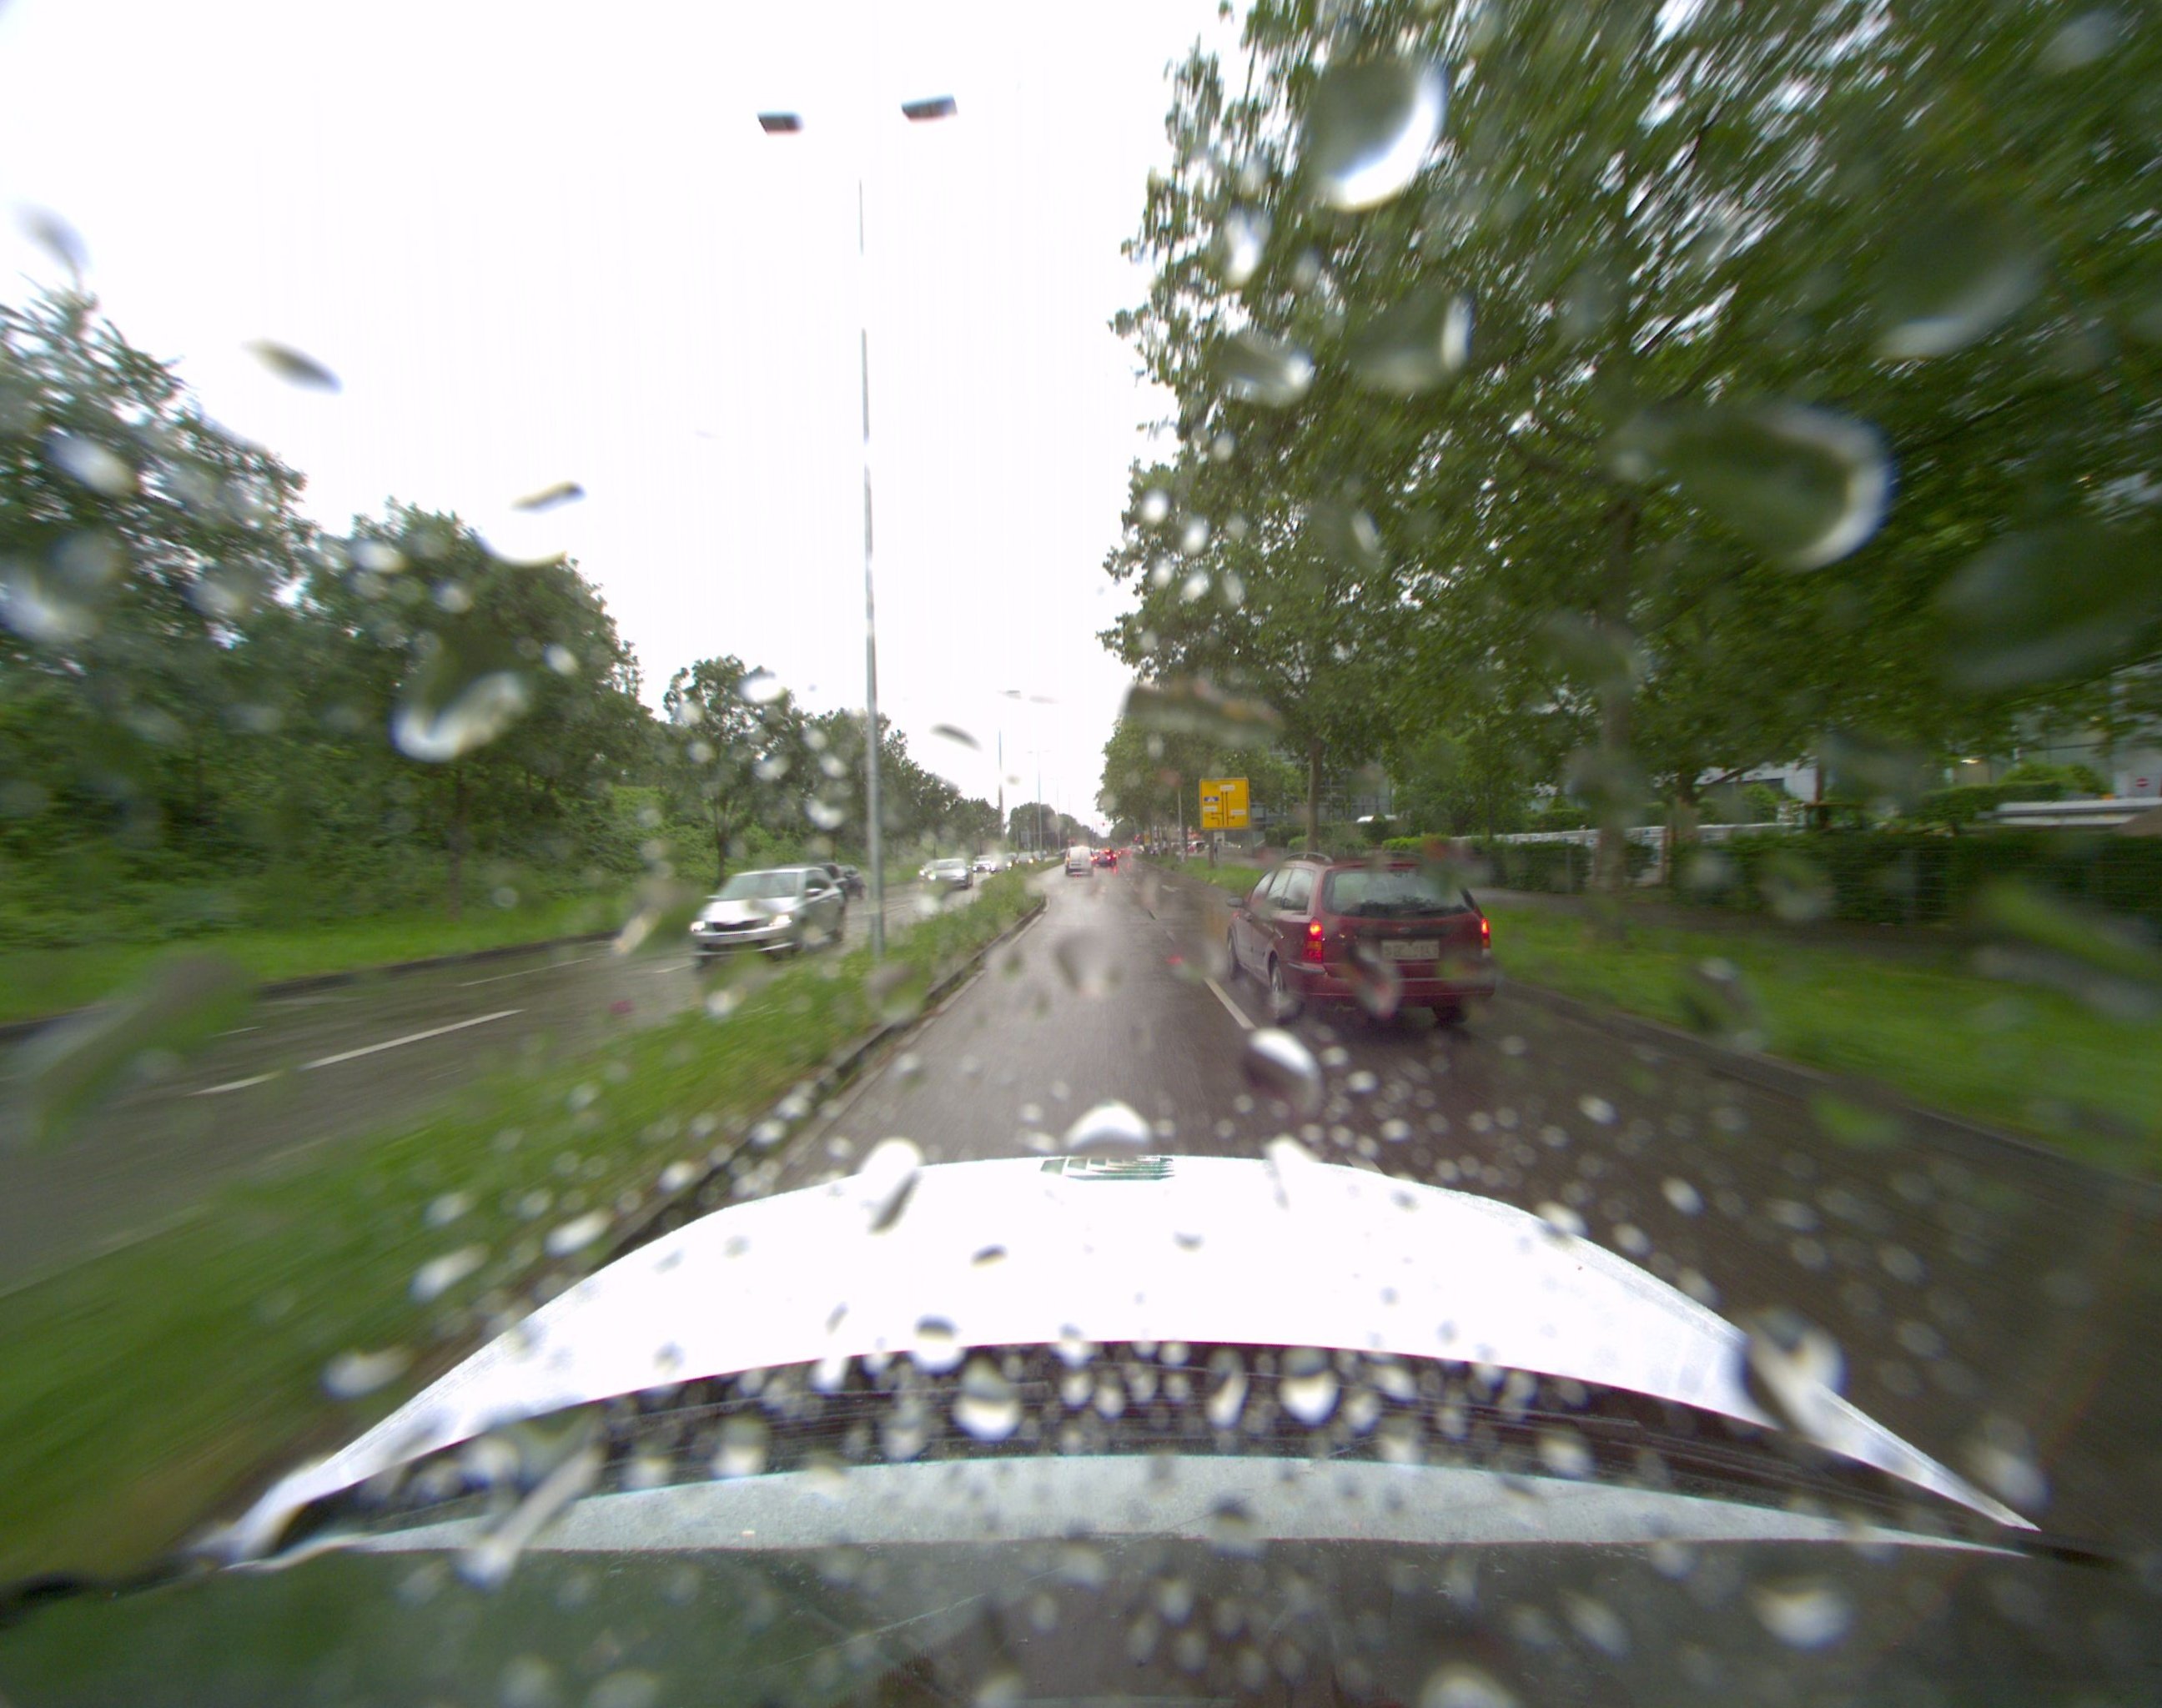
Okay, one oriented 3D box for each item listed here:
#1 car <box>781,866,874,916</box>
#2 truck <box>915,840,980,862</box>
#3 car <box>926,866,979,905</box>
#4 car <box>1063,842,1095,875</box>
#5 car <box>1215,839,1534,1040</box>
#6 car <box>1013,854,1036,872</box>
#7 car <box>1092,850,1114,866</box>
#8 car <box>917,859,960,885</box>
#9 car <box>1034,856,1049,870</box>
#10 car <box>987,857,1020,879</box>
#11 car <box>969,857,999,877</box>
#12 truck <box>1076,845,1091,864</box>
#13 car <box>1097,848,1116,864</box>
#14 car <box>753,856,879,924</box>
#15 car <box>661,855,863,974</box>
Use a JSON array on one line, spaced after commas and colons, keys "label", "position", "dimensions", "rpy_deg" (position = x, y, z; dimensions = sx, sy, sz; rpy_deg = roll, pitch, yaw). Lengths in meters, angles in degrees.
[{"label": "car", "position": [-9.990, 1.401, 32.500], "dimensions": [1.986, 1.687, 4.711], "rpy_deg": [-3, 0, 2]}, {"label": "truck", "position": [-21.386, -0.419, 130.526], "dimensions": [10.184, 3.452, 2.629], "rpy_deg": [0, -2, -35]}, {"label": "car", "position": [-5.999, 1.416, 38.472], "dimensions": [1.904, 1.574, 4.703], "rpy_deg": [-4, 0, -3]}, {"label": "car", "position": [-0.087, 0.334, 53.059], "dimensions": [1.987, 2.014, 3.999], "rpy_deg": [-1, -2, 0]}, {"label": "car", "position": [2.603, 0.672, 8.342], "dimensions": [1.833, 1.537, 4.112], "rpy_deg": [-1, 0, 1]}, {"label": "car", "position": [-5.644, 0.842, 81.777], "dimensions": [1.817, 1.574, 4.363], "rpy_deg": [0, 2, 2]}, {"label": "car", "position": [2.012, 0.396, 76.570], "dimensions": [1.987, 1.452, 3.999], "rpy_deg": [-1, 0, 0]}, {"label": "car", "position": [-9.294, 1.142, 53.500], "dimensions": [1.829, 1.502, 4.441], "rpy_deg": [-3, 0, 2]}, {"label": "car", "position": [-4.781, 1.123, 99.022], "dimensions": [1.716, 1.618, 4.341], "rpy_deg": [-1, 0, -3]}, {"label": "car", "position": [-6.163, 1.087, 64.863], "dimensions": [1.901, 1.574, 4.711], "rpy_deg": [-5, 0, 2]}, {"label": "car", "position": [-8.858, 1.194, 74.743], "dimensions": [1.901, 1.574, 4.711], "rpy_deg": [-5, 0, 2]}, {"label": "truck", "position": [0.322, 0.077, 104.803], "dimensions": [1.751, 2.466, 4.000], "rpy_deg": [-1, 0, 0]}, {"label": "car", "position": [2.570, 0.157, 82.749], "dimensions": [1.703, 1.549, 4.000], "rpy_deg": [-1, 1, 0]}, {"label": "car", "position": [-7.735, 0.982, 24.353], "dimensions": [1.986, 1.687, 4.711], "rpy_deg": [-4, 0, 2]}, {"label": "car", "position": [-5.276, 0.914, 14.136], "dimensions": [1.894, 1.613, 4.108], "rpy_deg": [-4, 0, -2]}]
